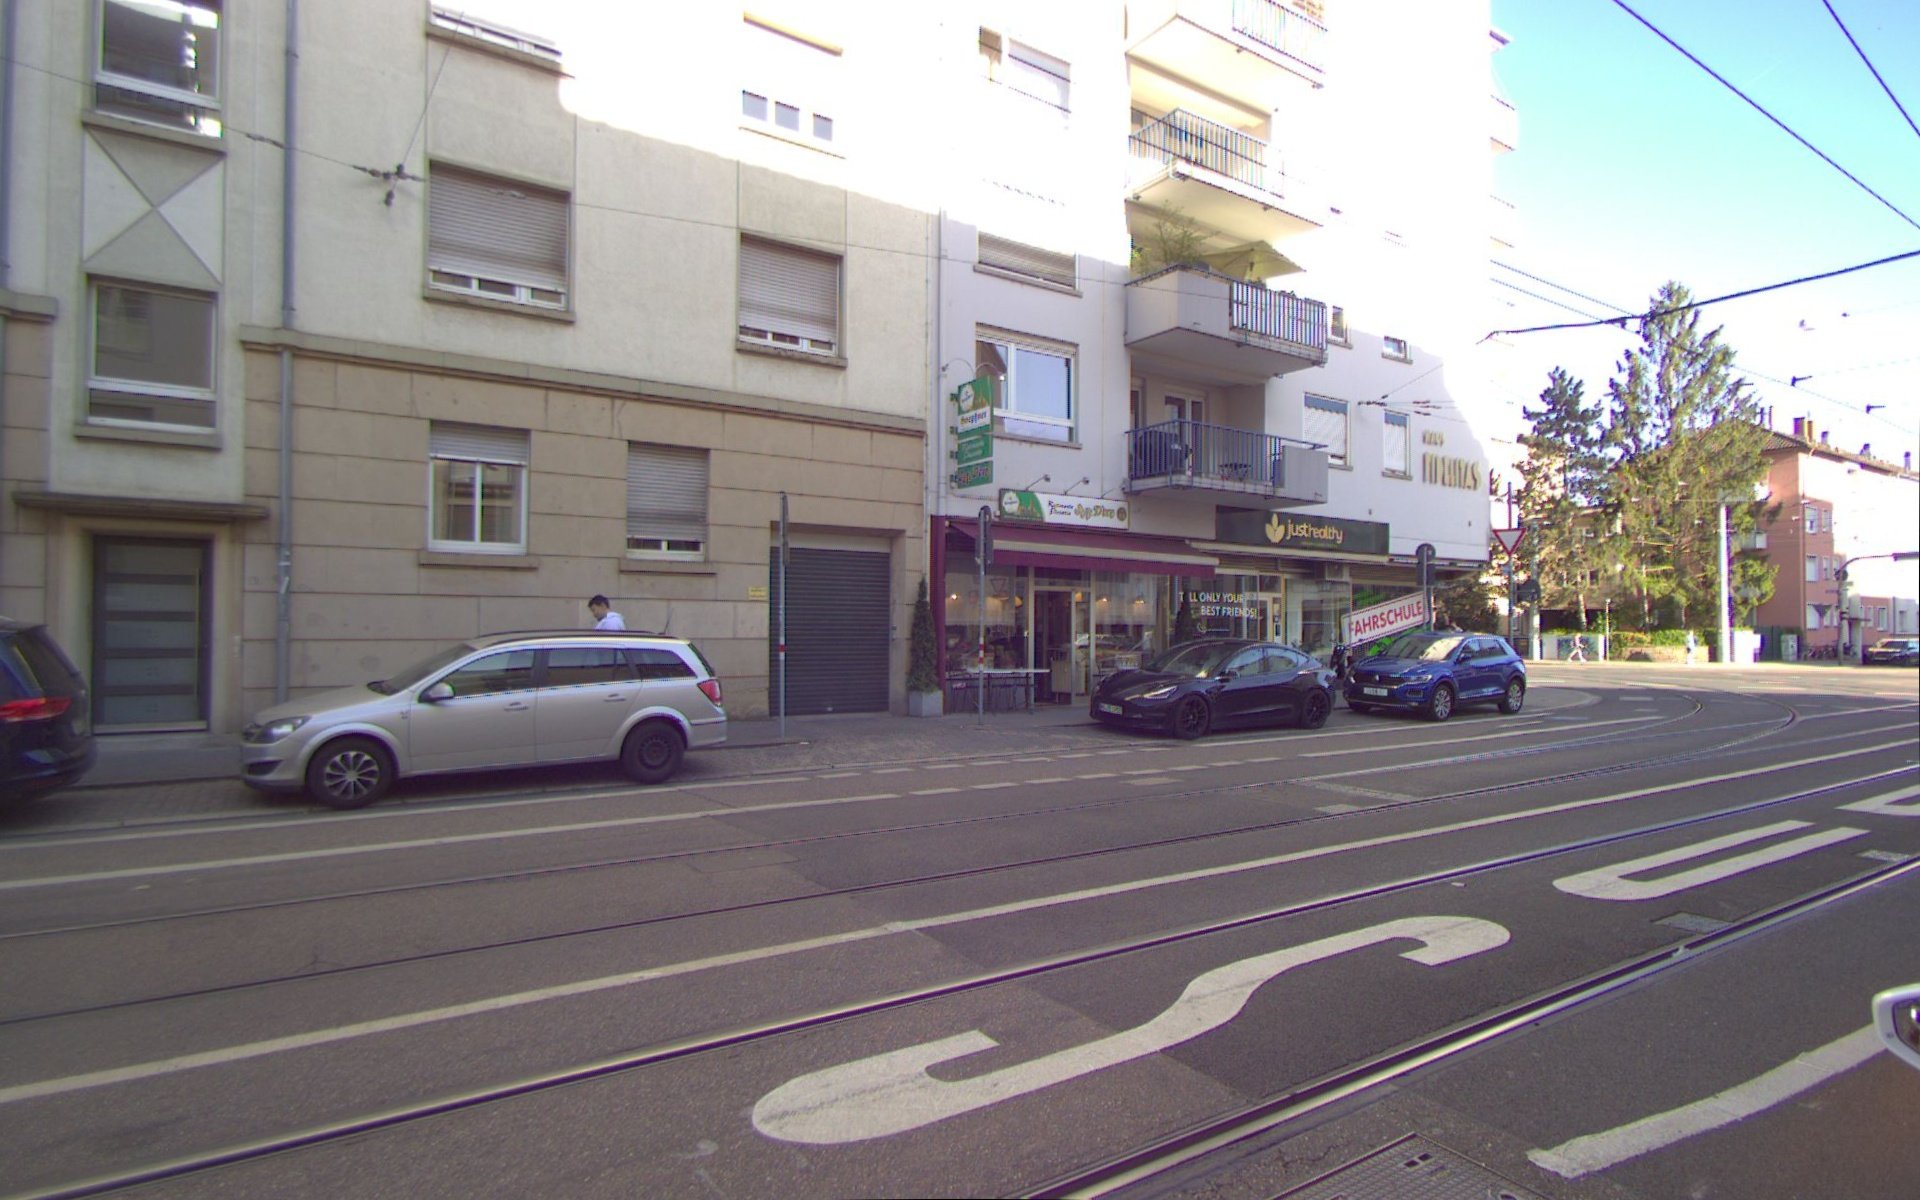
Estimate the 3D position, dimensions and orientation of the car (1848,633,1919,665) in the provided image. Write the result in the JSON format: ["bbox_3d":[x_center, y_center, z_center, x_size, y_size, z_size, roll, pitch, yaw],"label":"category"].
[{"bbox_3d":[49.724,2.644,53.878,4.397,1.450,2.140,4,-1,-35],"label":"car"}]

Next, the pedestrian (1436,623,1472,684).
[{"bbox_3d":[14.769,1.587,30.051,0.653,1.816,0.733,1,-1,-27],"label":"pedestrian"}]

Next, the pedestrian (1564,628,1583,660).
[{"bbox_3d":[33.696,2.409,55.188,0.772,1.744,0.702,2,0,37],"label":"pedestrian"}]

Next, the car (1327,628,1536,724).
[{"bbox_3d":[9.005,1.346,19.069,4.196,1.524,1.757,0,1,-36],"label":"car"}]

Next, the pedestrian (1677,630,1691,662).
[{"bbox_3d":[37.307,2.366,51.746,0.509,1.589,0.572,2,0,33],"label":"pedestrian"}]

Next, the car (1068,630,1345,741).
[{"bbox_3d":[3.995,1.287,16.050,4.398,1.494,1.759,2,0,-33],"label":"car"}]

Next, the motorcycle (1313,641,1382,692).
[{"bbox_3d":[9.227,1.561,23.889,1.778,1.149,0.603,2,0,-34],"label":"motorcycle"}]

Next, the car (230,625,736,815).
[{"bbox_3d":[-4.654,1.058,10.165,4.327,1.474,1.714,2,1,-35],"label":"car"}]

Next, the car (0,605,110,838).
[{"bbox_3d":[-8.994,0.858,7.152,4.282,1.655,1.802,2,1,-35],"label":"car"}]

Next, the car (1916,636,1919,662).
[{"bbox_3d":[58.407,2.938,59.459,4.185,1.546,1.731,2,0,-34],"label":"car"}]

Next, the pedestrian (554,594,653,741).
[{"bbox_3d":[-4.556,0.833,12.848,0.998,1.791,0.656,2,0,-40],"label":"pedestrian"}]

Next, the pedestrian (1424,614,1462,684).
[{"bbox_3d":[13.647,1.383,28.393,0.727,1.925,0.573,3,-2,-15],"label":"pedestrian"}]

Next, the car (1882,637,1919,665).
[{"bbox_3d":[54.037,2.896,56.701,4.057,1.456,1.893,2,0,-32],"label":"car"}]
